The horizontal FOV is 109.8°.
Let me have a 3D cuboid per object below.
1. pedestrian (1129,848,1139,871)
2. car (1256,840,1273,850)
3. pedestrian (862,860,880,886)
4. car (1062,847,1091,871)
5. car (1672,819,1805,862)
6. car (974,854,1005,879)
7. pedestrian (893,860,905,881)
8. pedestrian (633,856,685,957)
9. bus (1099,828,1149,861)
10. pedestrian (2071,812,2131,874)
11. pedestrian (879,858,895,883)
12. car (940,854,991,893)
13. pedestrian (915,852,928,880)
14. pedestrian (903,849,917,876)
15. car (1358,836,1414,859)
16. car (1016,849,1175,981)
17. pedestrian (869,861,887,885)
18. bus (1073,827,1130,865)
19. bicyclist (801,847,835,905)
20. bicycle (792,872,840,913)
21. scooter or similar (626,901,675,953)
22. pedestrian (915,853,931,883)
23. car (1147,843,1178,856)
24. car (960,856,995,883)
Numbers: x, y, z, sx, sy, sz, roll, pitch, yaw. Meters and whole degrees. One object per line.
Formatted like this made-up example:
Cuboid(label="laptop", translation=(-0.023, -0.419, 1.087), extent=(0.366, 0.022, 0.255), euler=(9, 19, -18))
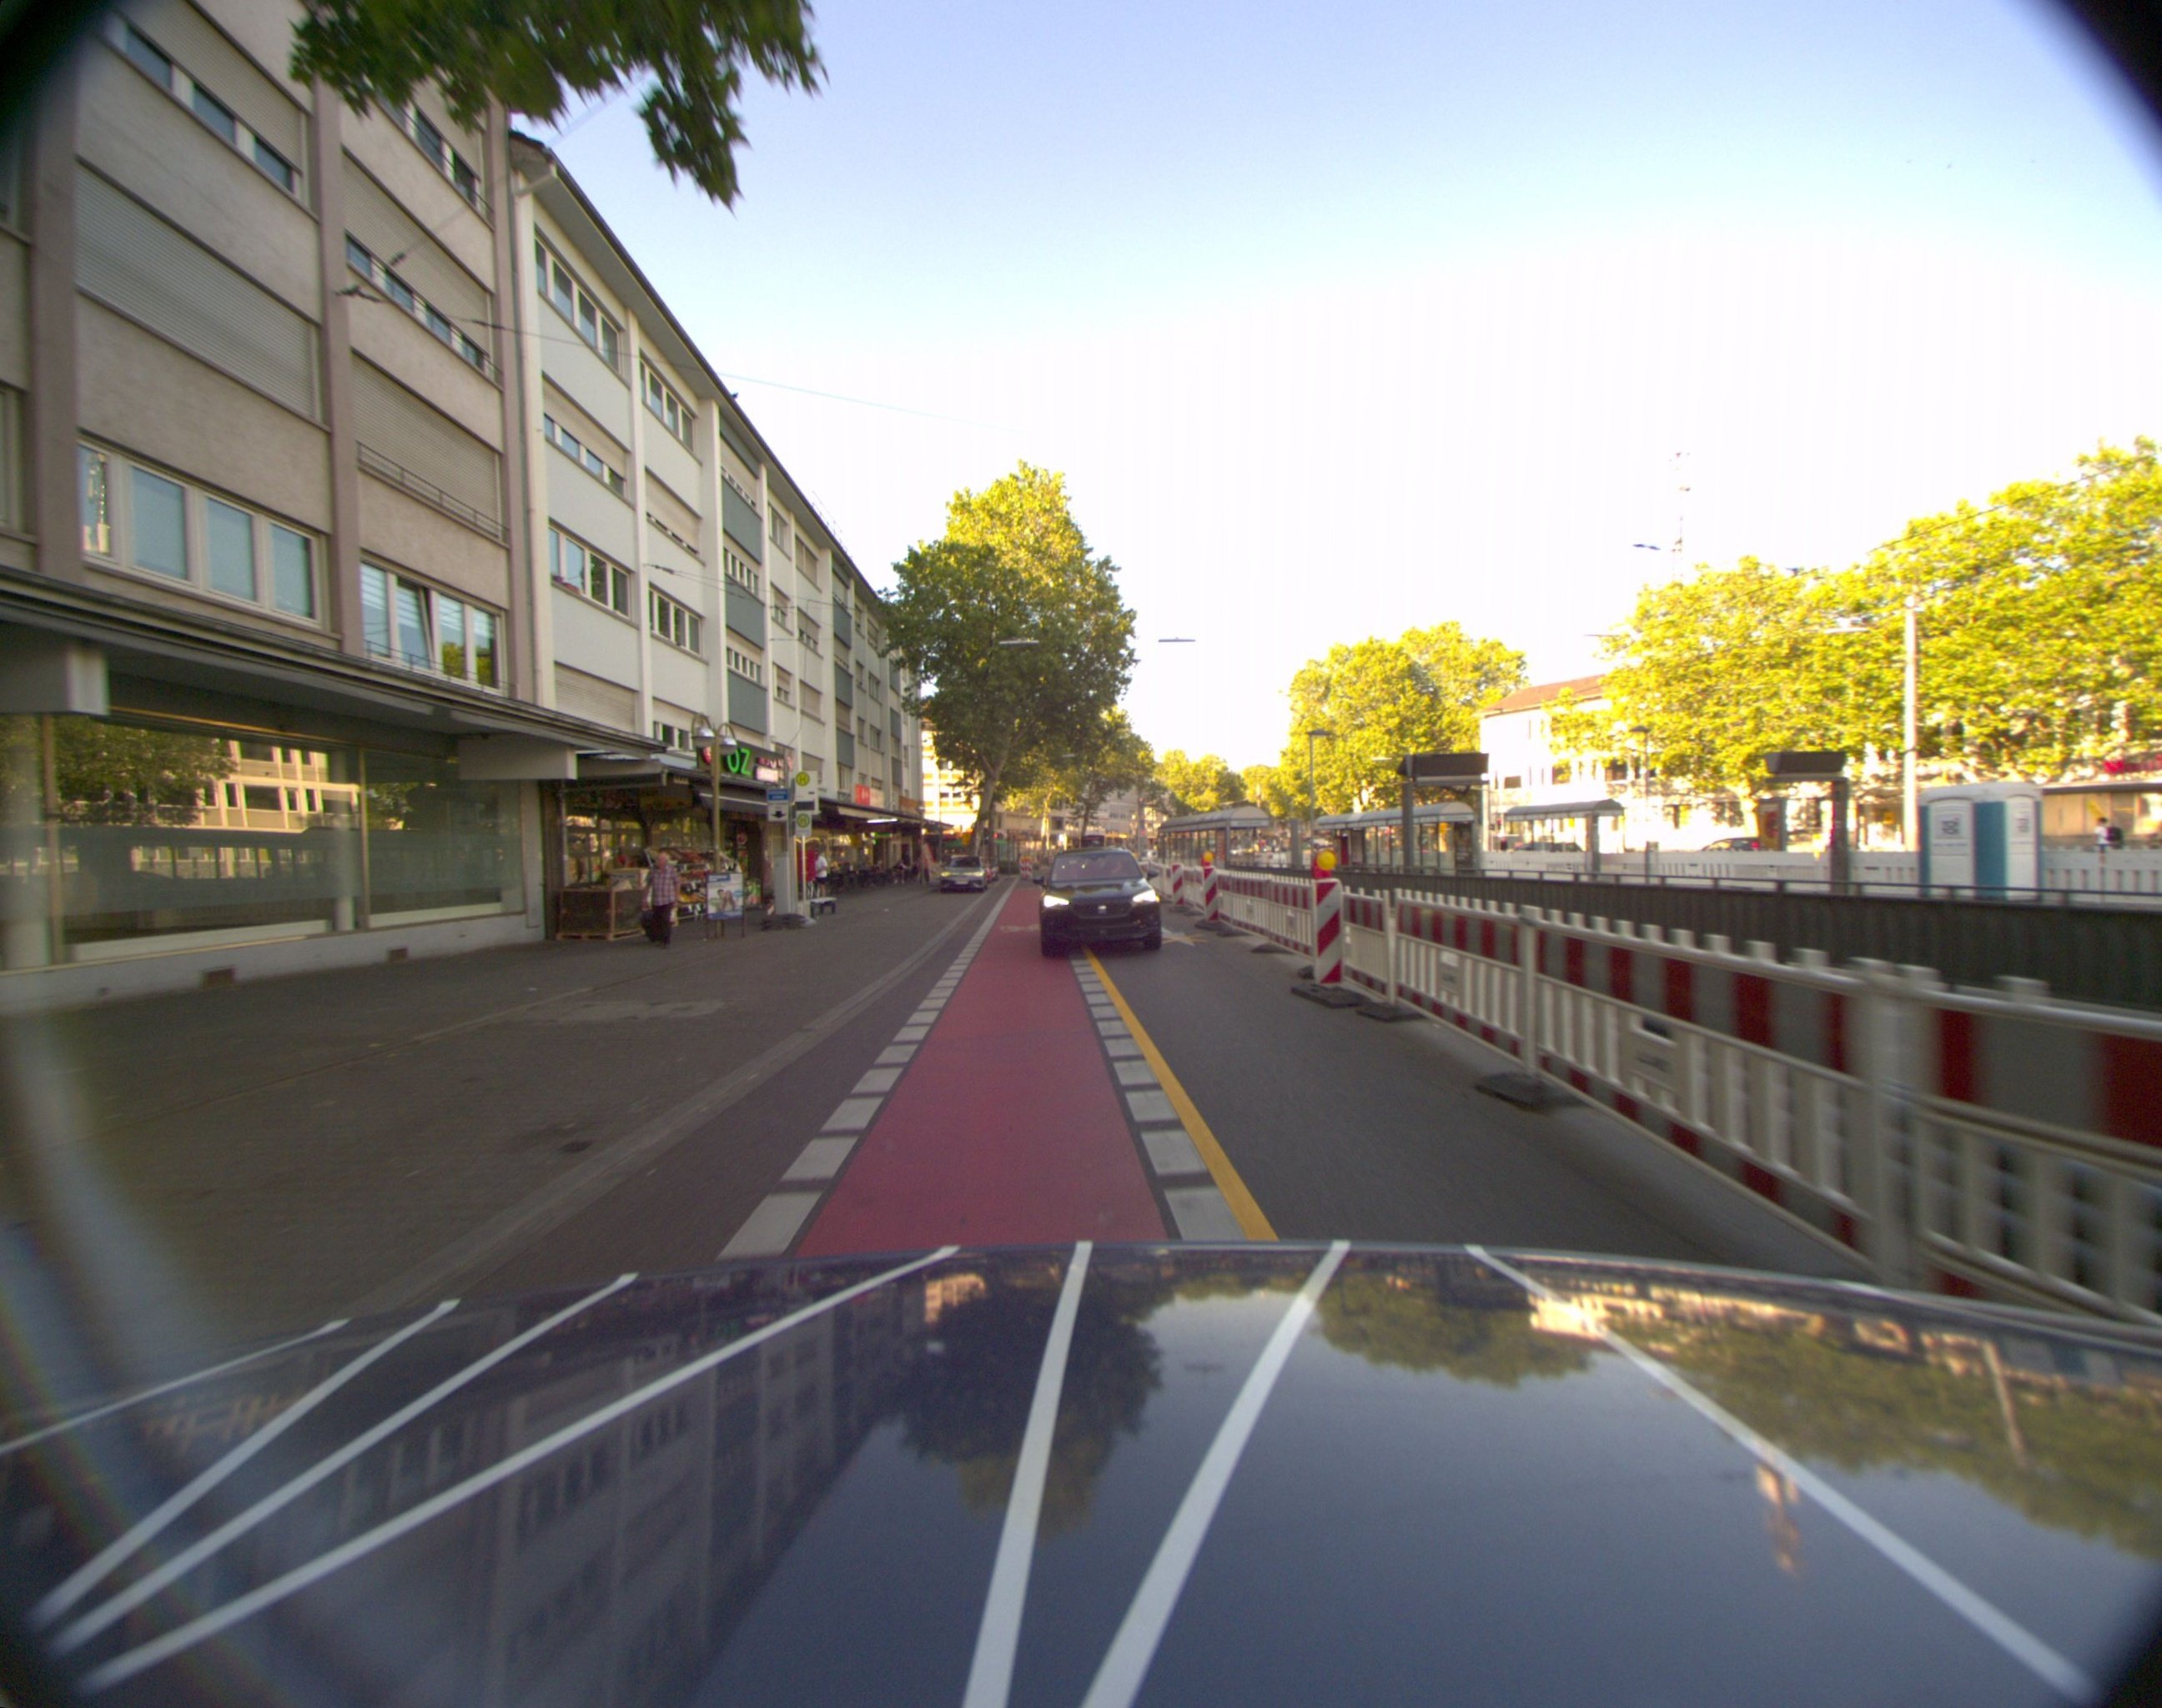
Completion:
Cuboid(label="pedestrian", translation=(3.671, 0.359, 52.841), extent=(0.623, 1.551, 0.471), euler=(-2, 1, -3))
Cuboid(label="car", translation=(32.278, -1.595, 133.493), extent=(1.702, 1.578, 3.713), euler=(-1, 1, 32))
Cuboid(label="pedestrian", translation=(-10.117, 0.895, 36.615), extent=(0.678, 1.220, 0.710), euler=(-1, 1, -3))
Cuboid(label="car", translation=(-0.357, 0.400, 55.653), extent=(1.999, 1.575, 4.619), euler=(-3, 0, -1))
Cuboid(label="car", translation=(26.567, -0.533, 30.893), extent=(1.810, 1.557, 3.968), euler=(-2, 1, -4))
Cuboid(label="car", translation=(-5.762, 0.774, 48.181), extent=(1.660, 1.471, 3.800), euler=(-1, 0, -2))
Cuboid(label="pedestrian", translation=(-9.979, 0.904, 41.612), extent=(0.520, 1.127, 0.507), euler=(-1, 1, -24))
Cuboid(label="pedestrian", translation=(-7.286, 0.884, 13.114), extent=(0.649, 1.664, 0.554), euler=(-3, 2, -37))
Cuboid(label="bus", translation=(4.957, -1.054, 84.405), extent=(2.735, 3.188, 12.375), euler=(-3, 0, 16))
Cuboid(label="pedestrian", translation=(33.680, -0.366, 25.099), extent=(0.884, 2.002, 0.886), euler=(-2, 1, -10))
Cuboid(label="pedestrian", translation=(-10.101, 0.867, 39.537), extent=(0.646, 1.258, 0.606), euler=(-1, 1, -2))
Cuboid(label="car", translation=(-5.101, 0.808, 34.046), extent=(1.923, 1.588, 4.789), euler=(-1, 0, -5))
Cuboid(label="pedestrian", translation=(-9.067, 0.685, 43.215), extent=(0.584, 1.551, 0.642), euler=(0, 1, 0))
Cuboid(label="pedestrian", translation=(-11.107, 0.546, 49.330), extent=(0.710, 1.699, 0.677), euler=(-2, 1, -6))
Cuboid(label="car", translation=(21.424, -0.448, 53.490), extent=(1.685, 1.565, 3.384), euler=(-2, 1, -25))
Cuboid(label="car", translation=(0.237, 0.791, 12.080), extent=(1.998, 1.638, 4.204), euler=(-3, 1, 1))
Cuboid(label="pedestrian", translation=(-10.052, 0.931, 37.614), extent=(0.677, 1.170, 0.710), euler=(-1, 1, -2))
Cuboid(label="bus", translation=(2.175, -0.779, 73.670), extent=(2.735, 3.188, 12.318), euler=(-3, 0, 14))
Cuboid(label="bicyclist", translation=(-7.850, 0.638, 22.703), extent=(0.771, 1.699, 0.829), euler=(1, 1, -5))
Cuboid(label="bicycle", translation=(-7.859, 1.114, 22.628), extent=(0.779, 1.097, 2.266), euler=(0, 0, -4))
Cuboid(label="scooter or similar", translation=(-7.711, 1.283, 13.604), extent=(0.578, 0.839, 0.731), euler=(-2, 1, -43))
Cuboid(label="pedestrian", translation=(-8.331, 0.714, 39.986), extent=(0.710, 1.576, 0.678), euler=(0, 1, -3))
Cuboid(label="car", translation=(10.656, -0.643, 99.222), extent=(1.994, 1.586, 4.570), euler=(-1, 0, 34))
Cuboid(label="car", translation=(-5.923, 0.837, 43.740), extent=(1.735, 1.434, 3.982), euler=(-1, 0, -5))
